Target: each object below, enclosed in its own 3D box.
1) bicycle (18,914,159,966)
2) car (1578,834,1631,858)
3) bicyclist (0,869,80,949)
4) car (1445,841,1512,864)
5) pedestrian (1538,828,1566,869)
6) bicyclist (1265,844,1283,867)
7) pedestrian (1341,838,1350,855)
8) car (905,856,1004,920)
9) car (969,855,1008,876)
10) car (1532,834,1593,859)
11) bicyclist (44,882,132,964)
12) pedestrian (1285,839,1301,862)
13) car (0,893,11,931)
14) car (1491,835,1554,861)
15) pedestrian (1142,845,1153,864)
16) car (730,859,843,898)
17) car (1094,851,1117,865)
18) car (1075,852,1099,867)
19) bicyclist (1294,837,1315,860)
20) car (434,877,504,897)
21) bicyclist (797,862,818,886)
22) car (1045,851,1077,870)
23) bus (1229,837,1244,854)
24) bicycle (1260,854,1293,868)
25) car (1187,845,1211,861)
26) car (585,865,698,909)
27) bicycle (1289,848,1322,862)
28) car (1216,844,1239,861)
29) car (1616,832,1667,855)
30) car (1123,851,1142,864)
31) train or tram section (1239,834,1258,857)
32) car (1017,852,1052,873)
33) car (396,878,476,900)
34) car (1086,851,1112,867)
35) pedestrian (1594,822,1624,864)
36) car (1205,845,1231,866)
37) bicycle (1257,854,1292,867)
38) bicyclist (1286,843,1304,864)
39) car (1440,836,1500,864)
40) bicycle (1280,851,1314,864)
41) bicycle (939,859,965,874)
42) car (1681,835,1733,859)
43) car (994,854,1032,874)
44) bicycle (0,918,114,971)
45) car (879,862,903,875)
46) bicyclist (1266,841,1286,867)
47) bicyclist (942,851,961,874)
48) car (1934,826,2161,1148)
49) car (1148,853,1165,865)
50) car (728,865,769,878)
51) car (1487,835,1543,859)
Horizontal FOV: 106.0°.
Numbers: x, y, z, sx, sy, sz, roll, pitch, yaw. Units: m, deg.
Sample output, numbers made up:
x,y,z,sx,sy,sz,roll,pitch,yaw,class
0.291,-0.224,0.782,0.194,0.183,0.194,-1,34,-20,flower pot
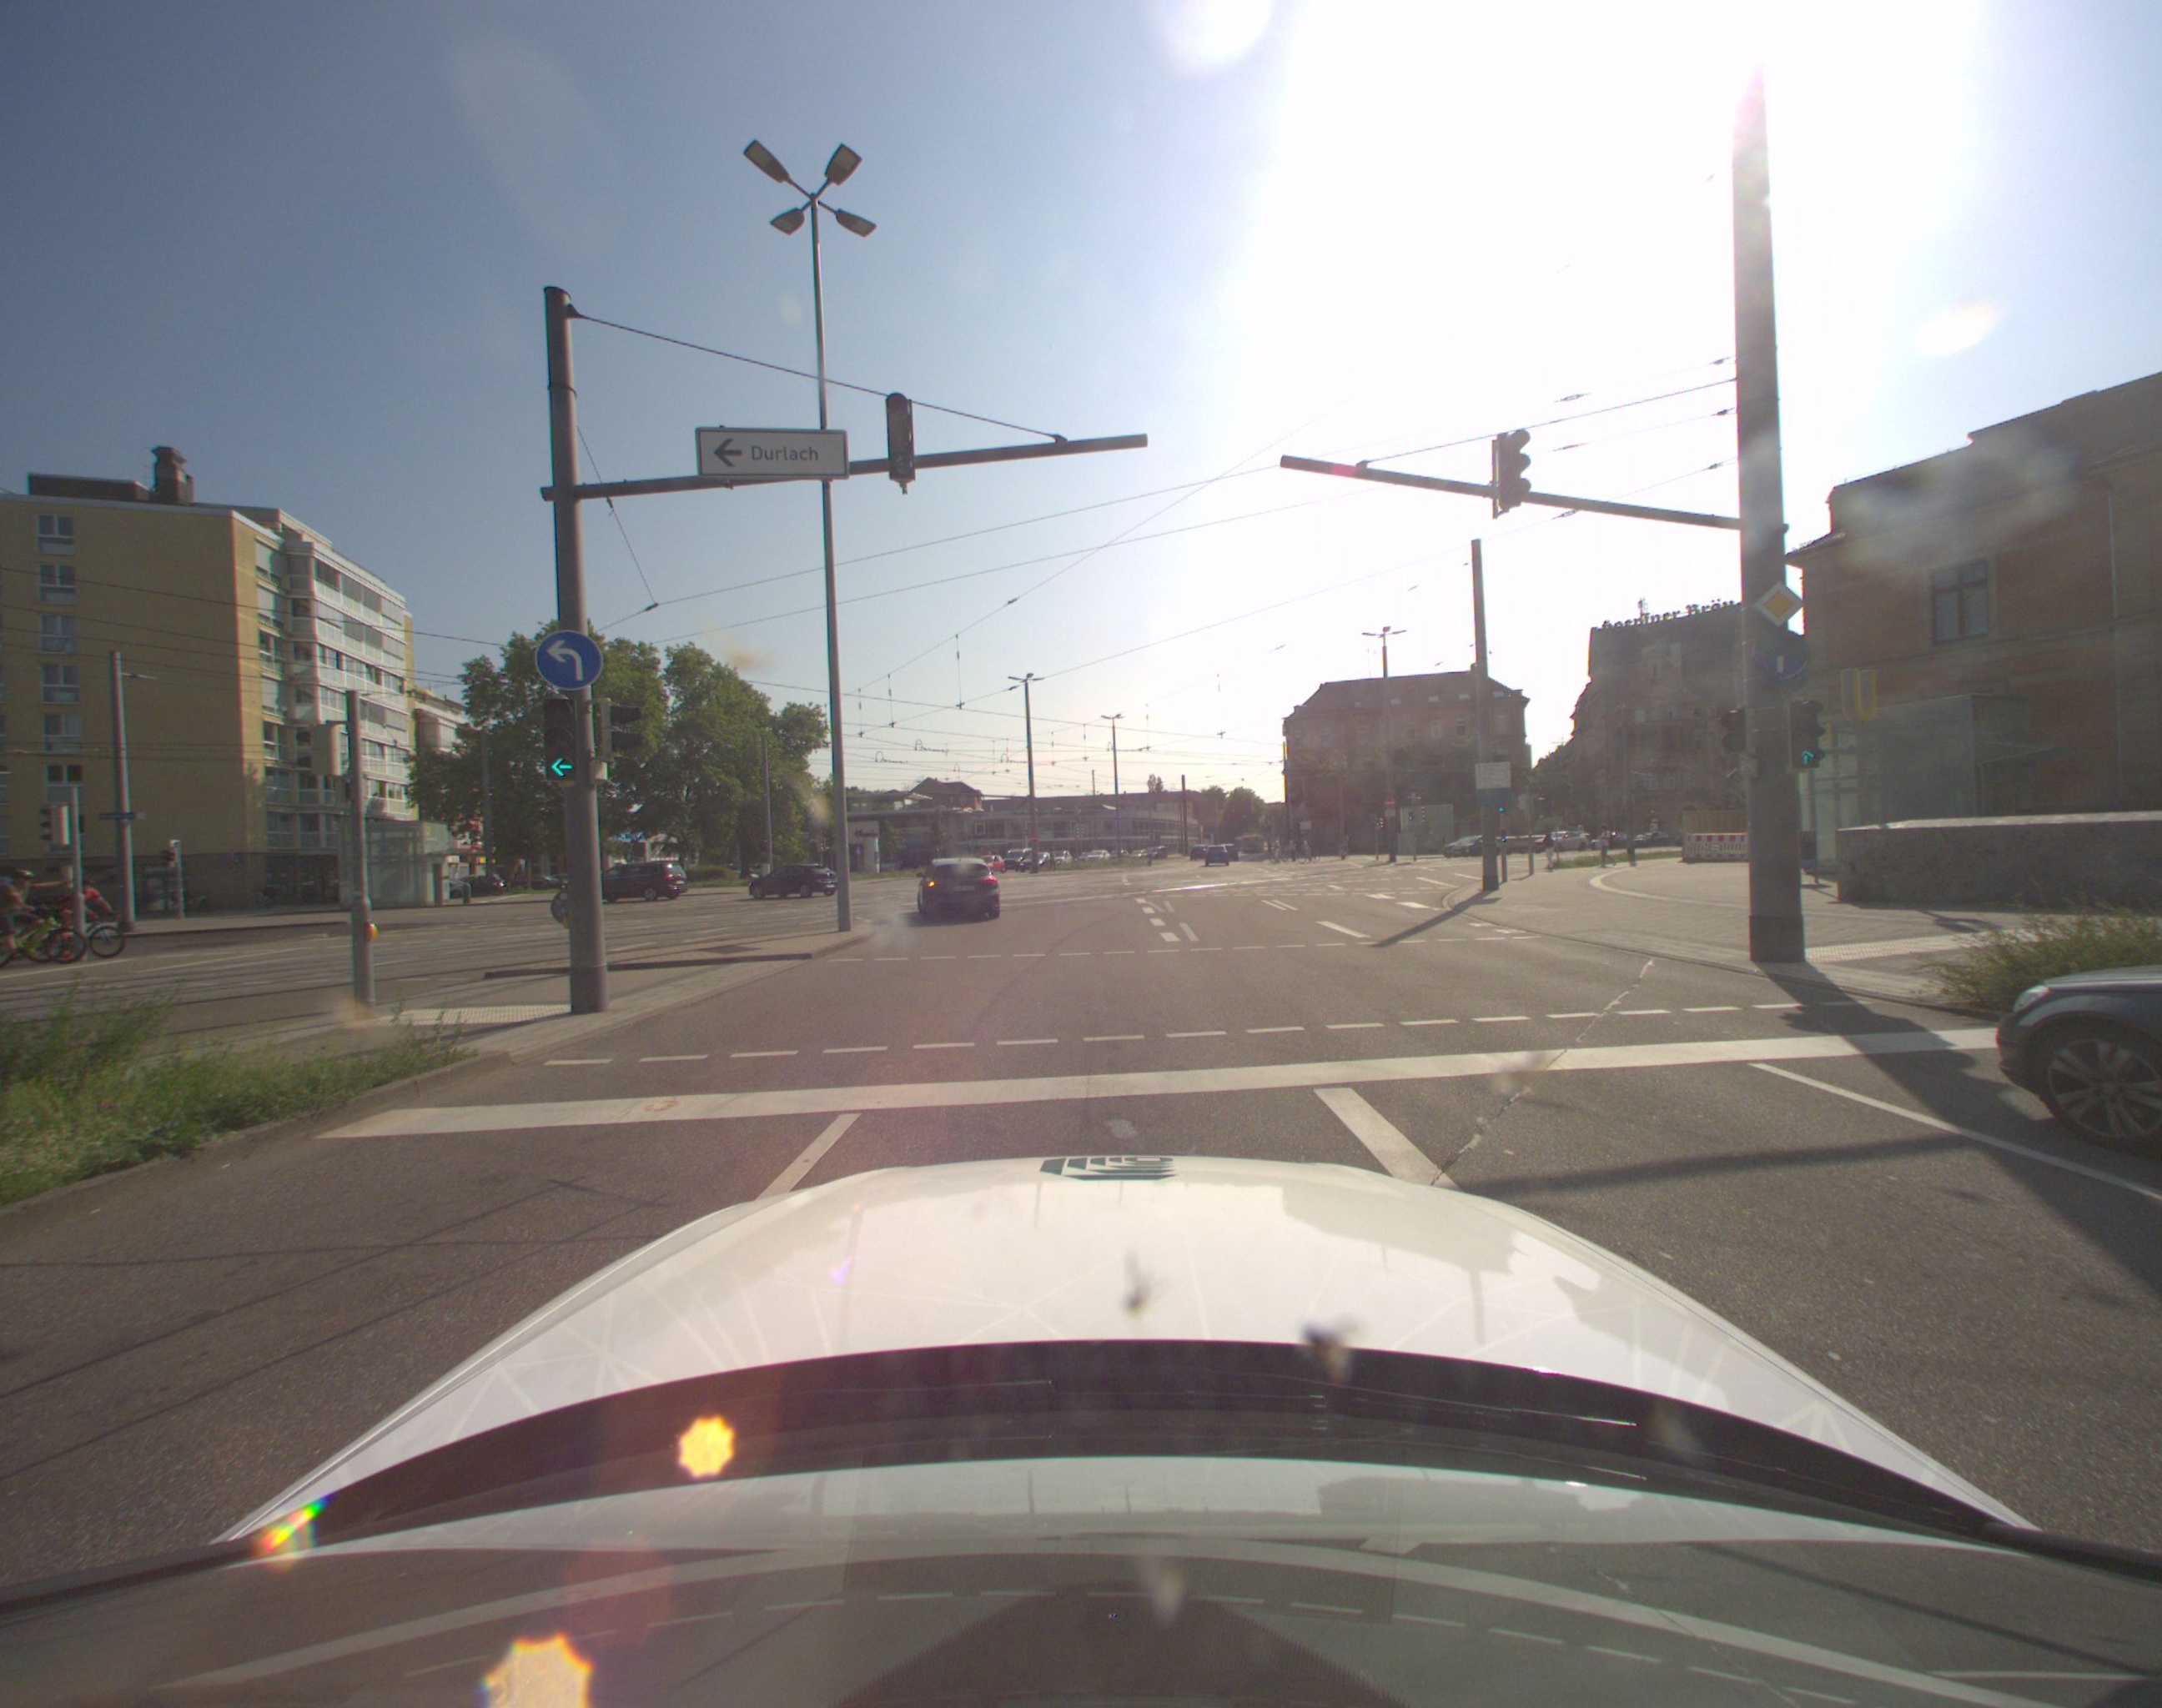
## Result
x,y,z,sx,sy,sz,roll,pitch,yaw,class
-21.214,1.832,17.440,1.814,0.932,0.723,-2,0,-13,bicycle
43.626,-0.704,67.884,4.262,1.859,1.892,-2,0,-29,car
-20.963,1.081,16.334,0.795,1.527,0.723,-2,0,-13,bicyclist
27.396,-0.125,56.081,4.400,1.397,2.005,-2,0,-29,car
19.889,-0.220,34.401,0.910,1.690,0.843,-2,0,36,pedestrian
15.713,0.129,66.326,0.938,1.799,1.084,-2,0,-25,bicyclist
23.537,-0.661,72.461,0.540,1.471,0.672,-3,0,44,pedestrian
-3.313,0.773,20.569,1.837,1.435,4.523,0,0,-18,car
-7.077,0.865,62.572,1.603,1.475,4.015,-4,-1,14,car
38.348,-0.614,64.839,4.678,1.859,2.026,-2,0,-29,car
-21.232,1.452,17.434,0.882,1.652,0.723,-2,0,-13,bicyclist
17.009,-0.268,65.320,0.933,1.797,0.849,-2,0,-42,pedestrian
-49.944,2.633,36.271,4.492,1.678,2.012,-2,0,27,car
33.890,-0.448,62.501,4.720,1.859,1.893,-2,0,-27,car
5.381,0.007,66.052,0.773,1.503,0.712,-2,0,8,pedestrian
-12.605,1.042,34.883,4.324,1.491,1.695,-2,0,16,car
2.887,0.484,95.428,1.602,1.475,4.016,-4,-1,15,car
0.668,0.566,88.496,1.602,1.475,4.016,-4,-1,15,car
17.062,-0.420,62.166,0.941,1.708,1.080,-2,0,-38,bicyclist
-48.817,2.592,65.025,4.171,1.354,1.567,-2,0,-20,car
-17.656,1.279,52.630,1.164,1.527,0.956,-2,0,-15,bicyclist
-1.721,0.574,71.196,1.603,1.475,4.015,-4,-1,14,car
35.009,-1.891,183.791,2.902,3.619,16.794,-2,0,10,bus
15.385,0.565,64.050,2.640,0.964,1.080,-2,0,-39,bicycle
12.321,-0.107,84.890,1.811,1.535,4.432,-3,0,17,car
-19.961,1.482,37.019,4.365,1.714,1.839,-3,0,15,car
17.171,0.097,62.233,2.640,0.964,1.080,-2,0,-39,bicycle
14.067,-0.160,78.052,1.812,1.428,4.429,-3,0,13,car
48.483,-0.901,70.467,4.262,1.859,1.892,-2,0,-29,car
6.509,0.463,102.477,1.602,1.475,4.016,-4,-1,15,car
28.692,-1.487,139.216,2.635,3.699,10.631,-3,0,14,train or tram section
-3.657,0.650,64.582,1.603,1.475,4.015,-4,-1,14,car
-46.009,2.496,58.174,4.171,1.354,1.567,-2,0,-20,car
1.882,0.473,82.684,1.602,1.475,4.016,-4,-1,15,car
21.903,-0.440,33.793,0.910,1.690,0.931,-2,0,39,pedestrian
10.423,0.077,62.029,1.814,1.428,4.424,-3,0,9,car
15.743,0.550,66.335,2.631,0.964,1.084,-2,0,-25,bicycle
17.830,-0.053,67.878,0.938,1.680,1.084,-2,0,-25,bicyclist
28.813,-0.303,60.295,4.262,1.859,1.892,-2,0,-29,car
18.018,0.307,67.967,2.631,0.964,1.084,-2,0,-25,bicycle
-9.885,0.961,62.388,0.950,1.057,2.619,-2,0,15,bicycle
52.180,-0.615,67.874,4.080,1.859,1.893,-2,0,-29,car
-5.760,0.822,69.599,1.946,1.475,4.015,-4,-1,14,car
-20.899,1.820,16.348,1.814,0.932,0.723,-2,0,-13,bicycle
-23.544,1.775,101.161,1.692,1.522,4.103,-2,0,3,car
15.327,0.023,64.026,0.941,2.024,1.080,-2,0,-38,bicyclist
-9.915,0.637,62.312,0.950,1.748,1.171,-2,0,15,bicyclist
5.774,0.603,2.499,1.678,1.442,4.371,-2,1,-1,car
10.091,0.655,108.690,1.602,1.475,4.016,-4,-1,15,car
-41.347,2.159,101.292,1.683,1.522,4.543,-2,0,30,car
37.246,-0.603,69.914,4.274,1.859,1.918,-2,0,-20,car
